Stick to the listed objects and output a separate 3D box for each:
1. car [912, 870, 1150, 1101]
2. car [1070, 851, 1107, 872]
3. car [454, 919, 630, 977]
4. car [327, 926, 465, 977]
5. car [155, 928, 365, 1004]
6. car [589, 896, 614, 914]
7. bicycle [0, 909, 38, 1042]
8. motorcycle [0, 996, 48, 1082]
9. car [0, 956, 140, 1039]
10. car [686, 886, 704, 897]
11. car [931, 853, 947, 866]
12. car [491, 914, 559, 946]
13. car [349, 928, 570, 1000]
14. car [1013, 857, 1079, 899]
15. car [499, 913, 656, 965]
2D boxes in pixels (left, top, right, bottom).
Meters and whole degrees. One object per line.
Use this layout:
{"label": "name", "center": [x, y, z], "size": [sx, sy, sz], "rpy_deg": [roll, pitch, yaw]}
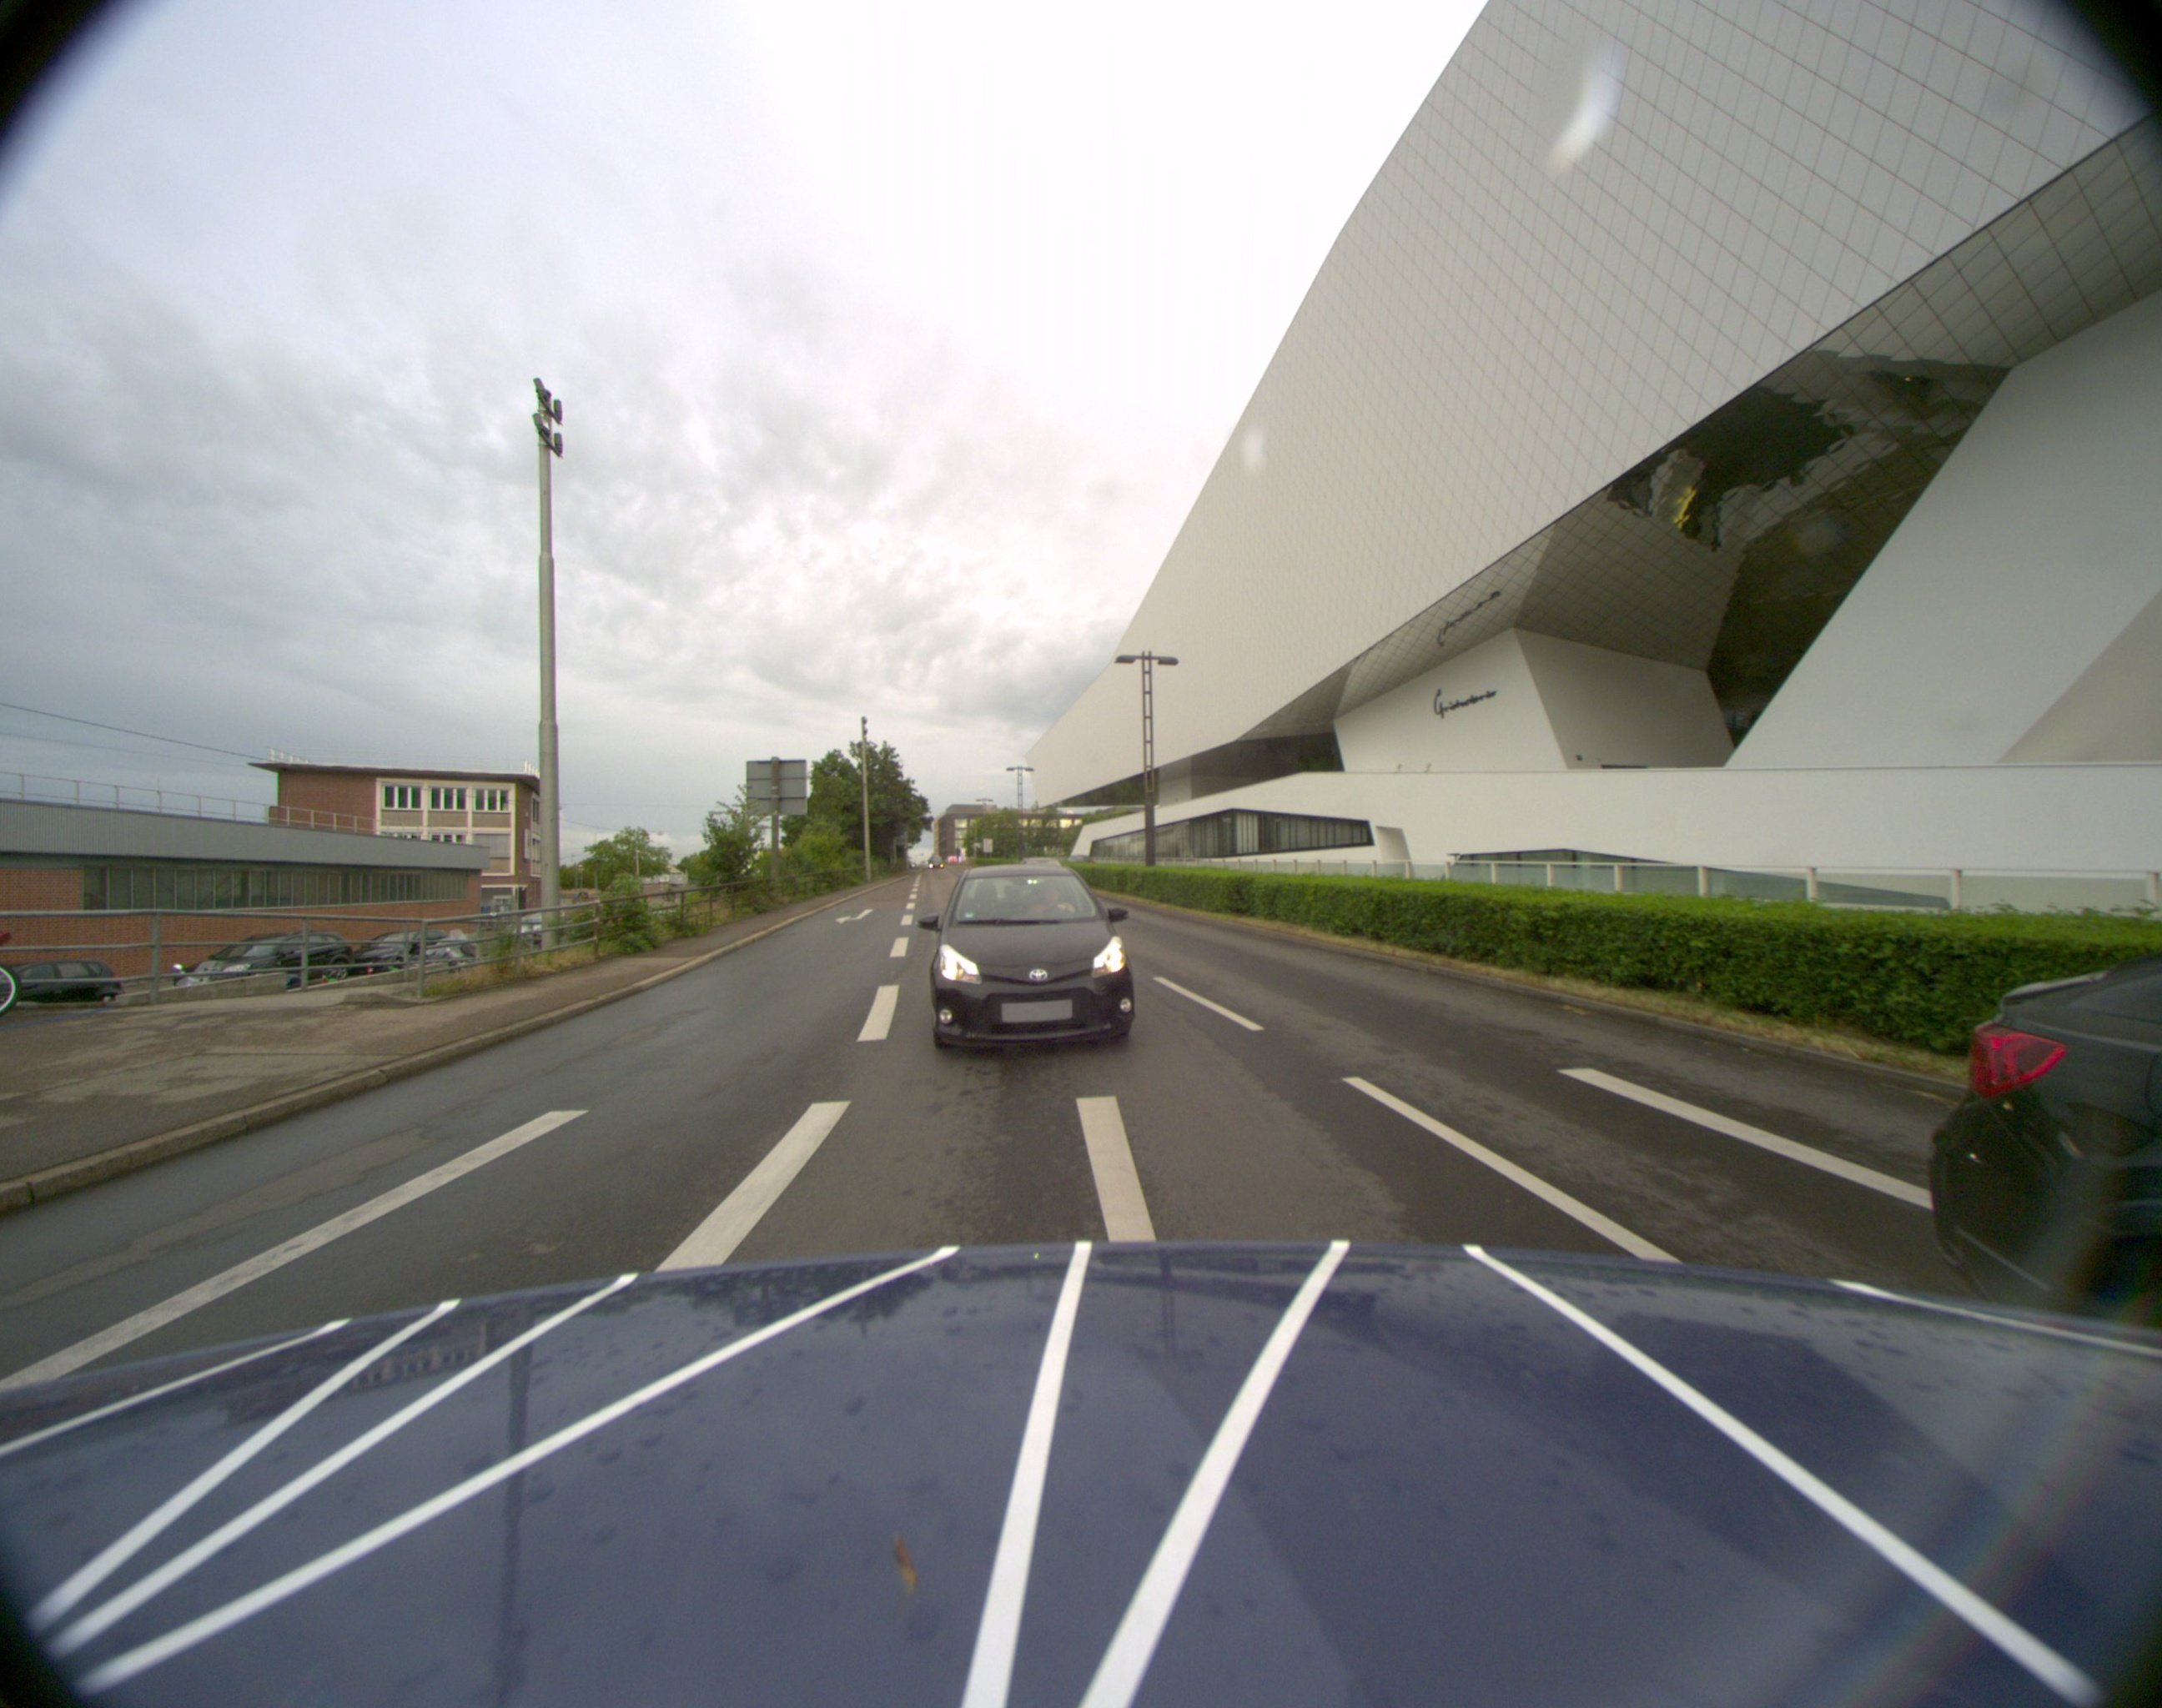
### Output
{"label": "car", "center": [-0.628, 0.991, 7.562], "size": [1.695, 1.498, 4.008], "rpy_deg": [-2, 1, -8]}
{"label": "car", "center": [0.511, 0.493, 53.618], "size": [1.725, 1.330, 3.995], "rpy_deg": [-2, 1, -12]}
{"label": "car", "center": [-15.702, 2.721, 22.248], "size": [3.995, 1.417, 1.722], "rpy_deg": [-2, -1, 5]}
{"label": "car", "center": [-25.694, 3.601, 28.740], "size": [1.720, 1.396, 4.273], "rpy_deg": [-2, -1, -7]}
{"label": "car", "center": [-24.431, 3.262, 22.911], "size": [1.784, 1.657, 4.503], "rpy_deg": [-2, -1, -7]}
{"label": "car", "center": [-42.155, 4.435, 66.875], "size": [1.723, 1.417, 3.991], "rpy_deg": [-1, -1, -30]}
{"label": "bicycle", "center": [-10.393, 1.092, 6.581], "size": [1.547, 1.148, 0.450], "rpy_deg": [0, 2, -27]}
{"label": "motorcycle", "center": [-13.340, 2.233, 8.780], "size": [1.618, 0.916, 0.420], "rpy_deg": [-3, 1, -24]}
{"label": "car", "center": [-23.273, 3.157, 16.237], "size": [1.721, 1.417, 3.997], "rpy_deg": [-2, -1, -10]}
{"label": "car", "center": [-54.952, 5.363, 108.045], "size": [1.724, 1.417, 3.991], "rpy_deg": [-1, -1, -34]}
{"label": "car", "center": [-17.023, 0.633, 91.067], "size": [1.750, 1.466, 4.064], "rpy_deg": [-2, 1, -11]}
{"label": "car", "center": [-30.118, 4.082, 41.318], "size": [1.734, 1.380, 3.995], "rpy_deg": [-2, -1, -17]}
{"label": "car", "center": [-14.873, 2.612, 18.304], "size": [3.995, 1.417, 1.722], "rpy_deg": [-2, -1, 5]}
{"label": "car", "center": [-1.437, 0.877, 29.483], "size": [1.819, 1.430, 4.297], "rpy_deg": [-2, 0, -12]}
{"label": "car", "center": [-16.270, 2.729, 24.661], "size": [3.995, 1.417, 1.722], "rpy_deg": [-2, -1, 5]}
